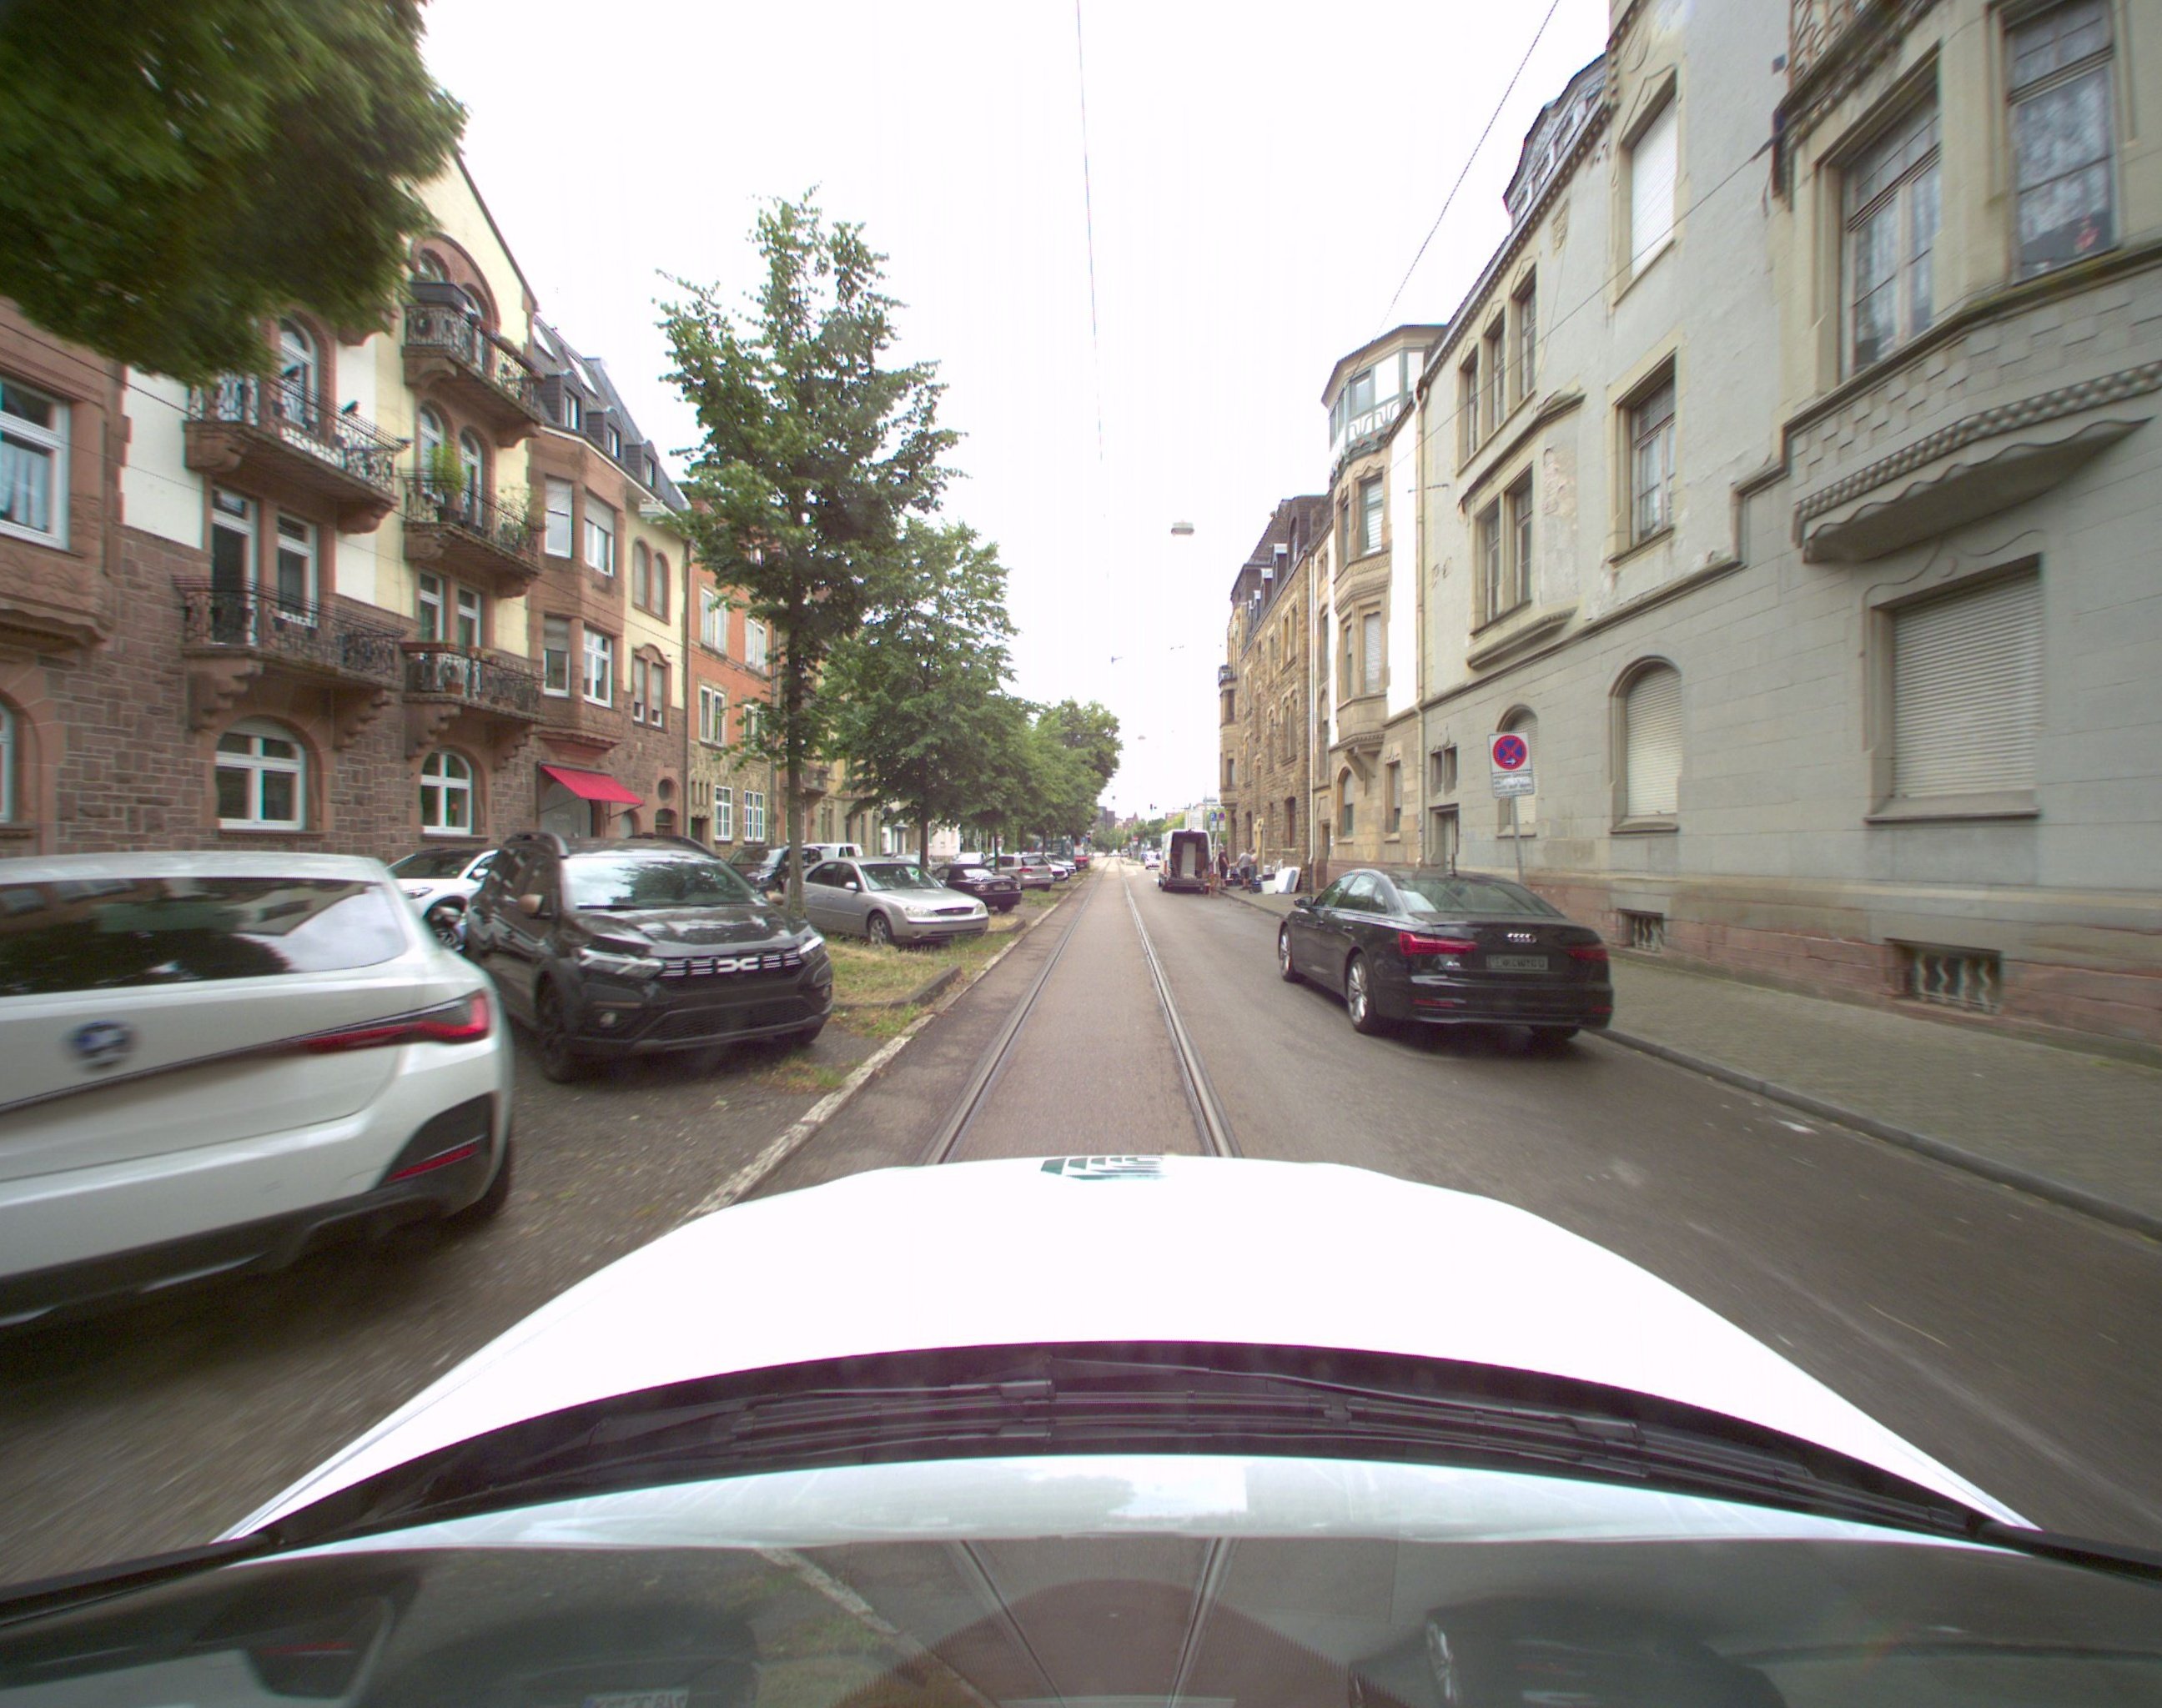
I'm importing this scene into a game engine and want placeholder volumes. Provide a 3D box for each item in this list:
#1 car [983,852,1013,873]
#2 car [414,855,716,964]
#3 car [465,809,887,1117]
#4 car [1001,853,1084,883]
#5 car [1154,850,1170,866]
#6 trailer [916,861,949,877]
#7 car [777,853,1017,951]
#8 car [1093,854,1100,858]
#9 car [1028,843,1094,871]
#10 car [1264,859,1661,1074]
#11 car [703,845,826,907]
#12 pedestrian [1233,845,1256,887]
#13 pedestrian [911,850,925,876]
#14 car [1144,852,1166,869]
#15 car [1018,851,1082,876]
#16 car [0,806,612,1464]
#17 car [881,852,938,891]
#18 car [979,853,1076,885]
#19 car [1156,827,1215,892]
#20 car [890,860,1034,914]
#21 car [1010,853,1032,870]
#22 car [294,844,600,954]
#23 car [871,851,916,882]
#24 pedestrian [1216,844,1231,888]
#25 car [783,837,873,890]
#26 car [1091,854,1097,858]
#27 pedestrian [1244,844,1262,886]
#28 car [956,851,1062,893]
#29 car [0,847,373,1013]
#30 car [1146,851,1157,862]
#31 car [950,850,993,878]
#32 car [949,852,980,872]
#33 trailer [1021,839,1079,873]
[{"bbox_3d":[-6.081,0.589,60.121,1.638,1.504,4.624,0,0,2],"label":"car"},{"bbox_3d":[-7.942,0.745,13.212,1.798,1.453,4.654,0,0,2],"label":"car"},{"bbox_3d":[-3.517,0.583,6.557,1.775,1.633,4.477,0,0,-44],"label":"car"},{"bbox_3d":[-2.048,0.698,42.230,4.286,1.435,1.910,0,0,44],"label":"car"},{"bbox_3d":[9.915,0.438,99.735,1.774,1.962,4.387,0,0,4],"label":"car"},{"bbox_3d":[-9.424,0.958,51.870,1.449,0.893,3.077,-2,0,1],"label":"trailer"},{"bbox_3d":[-3.252,0.677,13.751,4.610,1.368,1.768,0,0,45],"label":"car"},{"bbox_3d":[4.525,0.571,236.191,1.755,1.387,4.003,0,0,3],"label":"car"},{"bbox_3d":[-1.504,0.233,59.979,4.707,1.974,1.972,0,0,41],"label":"car"},{"bbox_3d":[3.285,0.812,8.362,1.794,1.438,5.198,0,0,2],"label":"car"},{"bbox_3d":[-10.015,0.651,26.234,1.807,1.781,5.119,0,0,2],"label":"car"},{"bbox_3d":[6.797,0.513,33.805,0.706,1.700,0.489,-2,0,-26],"label":"pedestrian"},{"bbox_3d":[-11.299,0.636,56.391,0.795,1.766,0.900,0,0,1],"label":"pedestrian"},{"bbox_3d":[6.710,0.553,73.553,1.772,1.472,4.019,0,0,8],"label":"car"},{"bbox_3d":[-1.912,0.530,49.095,3.815,1.463,1.700,0,0,44],"label":"car"},{"bbox_3d":[-3.850,0.639,3.609,2.047,1.490,4.486,0,0,-44],"label":"car"},{"bbox_3d":[-6.907,0.686,32.995,1.598,1.514,2.893,0,0,2],"label":"car"},{"bbox_3d":[-2.598,0.684,38.960,4.629,1.435,1.910,0,0,41],"label":"car"},{"bbox_3d":[4.463,0.204,35.809,2.005,2.548,7.022,2,0,3],"label":"car"},{"bbox_3d":[-3.129,0.782,20.859,1.678,1.202,3.914,0,0,-44],"label":"car"},{"bbox_3d":[-5.537,0.697,75.407,1.638,1.504,3.885,0,0,2],"label":"car"},{"bbox_3d":[-10.809,0.680,14.431,1.734,1.626,4.555,0,0,2],"label":"car"},{"bbox_3d":[-9.802,0.639,42.808,1.629,1.550,2.951,0,0,1],"label":"car"},{"bbox_3d":[6.051,0.502,34.572,0.496,1.815,0.804,-2,0,4],"label":"pedestrian"},{"bbox_3d":[-10.002,0.356,32.654,1.874,1.952,5.096,0,0,2],"label":"car"},{"bbox_3d":[4.065,0.634,253.002,1.755,1.387,4.003,0,0,3],"label":"car"},{"bbox_3d":[7.309,0.465,34.618,0.507,1.717,0.579,-2,0,-8],"label":"pedestrian"},{"bbox_3d":[-2.803,0.626,31.194,4.066,1.484,1.808,0,0,43],"label":"car"},{"bbox_3d":[-10.807,0.722,9.546,1.656,1.559,3.724,0,0,2],"label":"car"},{"bbox_3d":[12.303,0.400,142.991,1.775,1.962,4.385,0,0,2],"label":"car"},{"bbox_3d":[-6.342,0.550,47.587,1.798,1.579,4.548,0,0,2],"label":"car"},{"bbox_3d":[-8.797,0.594,61.736,1.629,1.443,4.571,0,0,1],"label":"car"},{"bbox_3d":[-2.181,0.121,57.135,3.624,2.344,1.943,0,0,35],"label":"trailer"}]
